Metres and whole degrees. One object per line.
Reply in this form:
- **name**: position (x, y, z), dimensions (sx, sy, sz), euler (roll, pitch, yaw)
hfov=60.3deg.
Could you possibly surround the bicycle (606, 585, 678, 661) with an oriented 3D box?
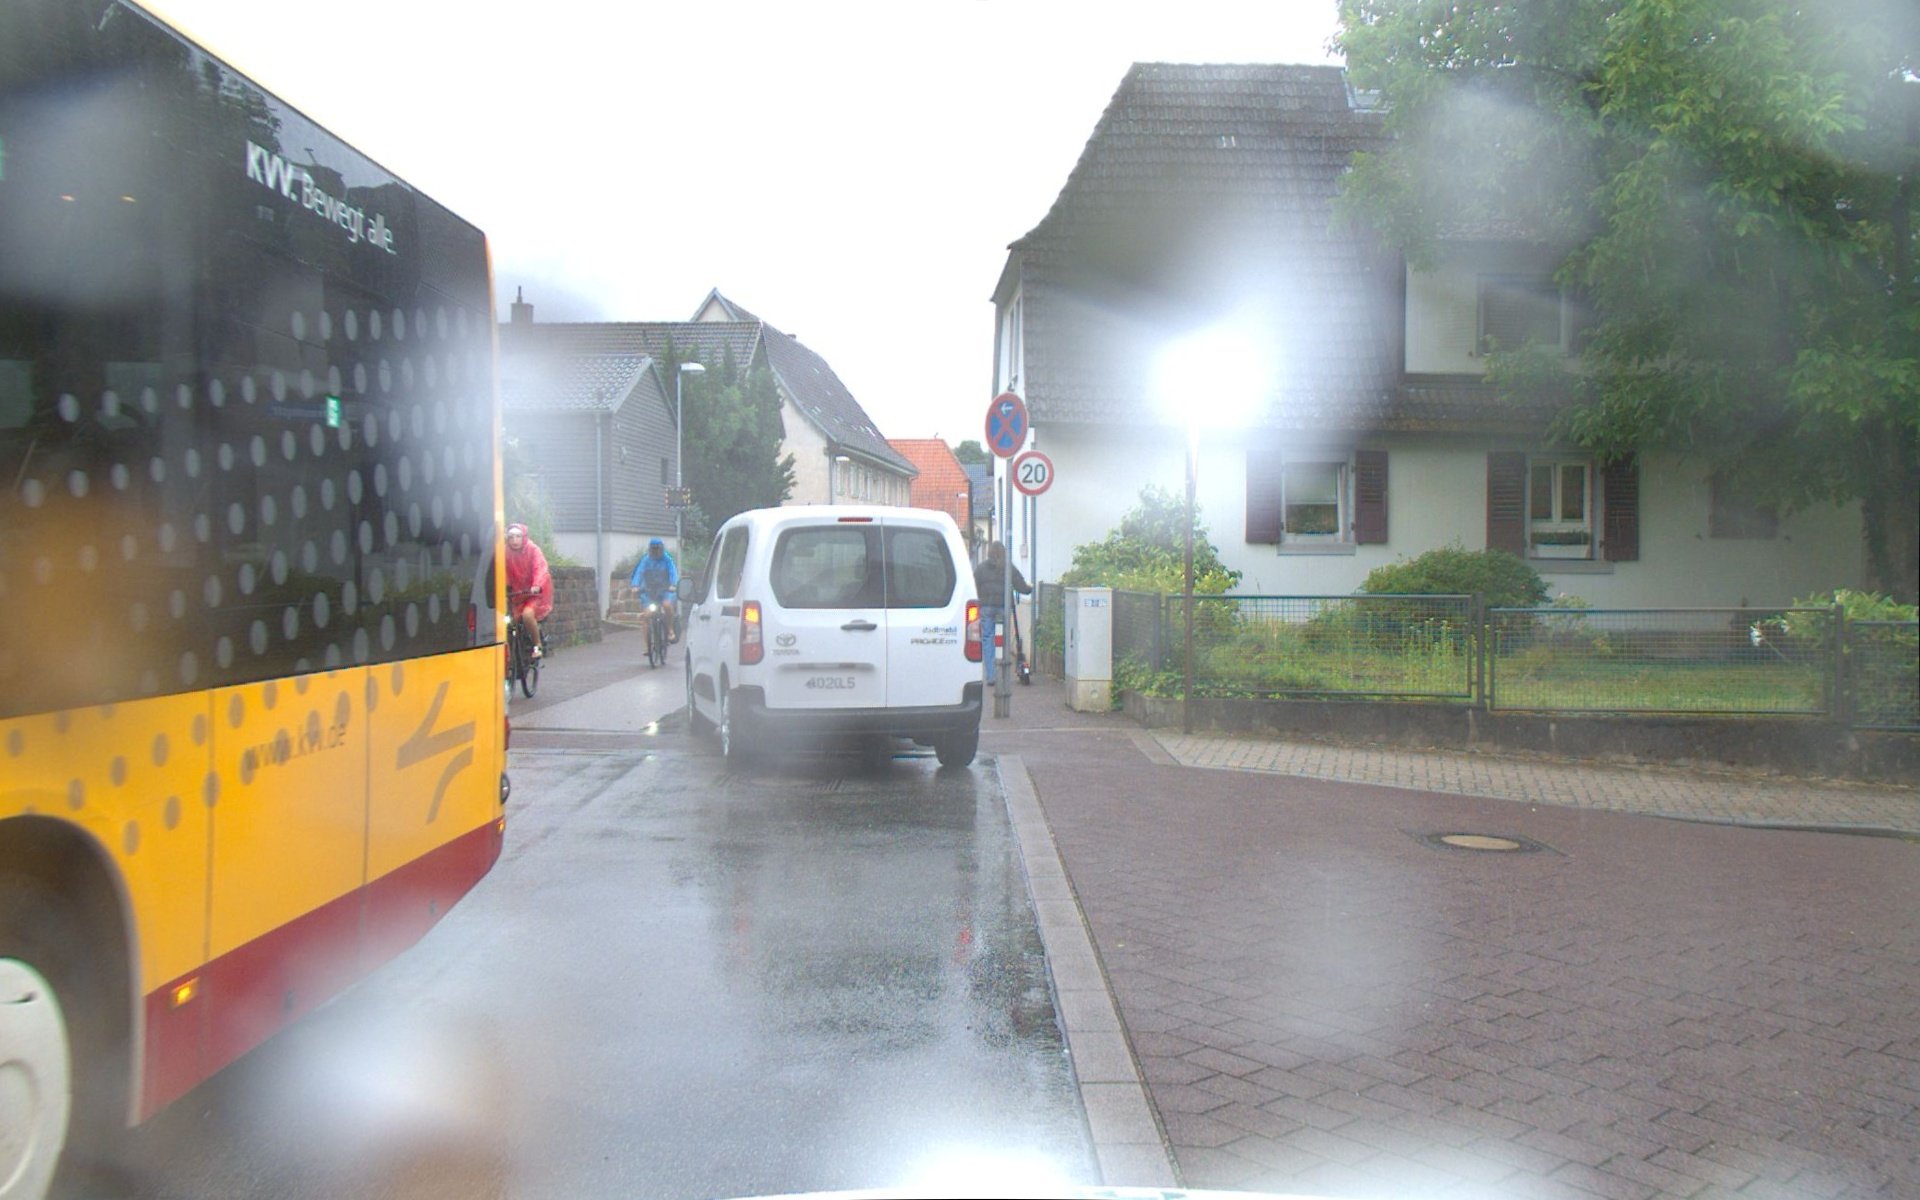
- **bicycle**: position (-4.764, 0.323, 24.898), dimensions (0.667, 1.069, 2.338), euler (1, 0, -2)

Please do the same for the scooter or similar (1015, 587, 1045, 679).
- **scooter or similar**: position (0.825, 0.378, 19.712), dimensions (0.240, 1.045, 1.100), euler (2, 1, -2)

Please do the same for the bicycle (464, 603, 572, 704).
- **bicycle**: position (-4.574, 0.528, 17.237), dimensions (0.648, 0.885, 1.935), euler (1, 3, -2)

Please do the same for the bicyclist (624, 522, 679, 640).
- **bicyclist**: position (-4.648, -0.289, 24.972), dimensions (0.673, 1.743, 0.703), euler (1, 0, -2)

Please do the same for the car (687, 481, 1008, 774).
- **car**: position (-1.033, 0.182, 12.665), dimensions (1.764, 1.850, 4.087), euler (2, 0, -13)

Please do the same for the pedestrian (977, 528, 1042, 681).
- **pedestrian**: position (0.588, 0.043, 19.742), dimensions (0.680, 1.762, 0.821), euler (2, 1, -2)

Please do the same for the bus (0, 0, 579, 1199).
- **bus**: position (-3.016, -0.014, 0.322), dimensions (2.748, 2.990, 11.945), euler (1, 1, 2)

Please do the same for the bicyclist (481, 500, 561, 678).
- **bicyclist**: position (-4.558, -0.129, 17.216), dimensions (0.643, 1.800, 0.703), euler (1, 2, -2)
